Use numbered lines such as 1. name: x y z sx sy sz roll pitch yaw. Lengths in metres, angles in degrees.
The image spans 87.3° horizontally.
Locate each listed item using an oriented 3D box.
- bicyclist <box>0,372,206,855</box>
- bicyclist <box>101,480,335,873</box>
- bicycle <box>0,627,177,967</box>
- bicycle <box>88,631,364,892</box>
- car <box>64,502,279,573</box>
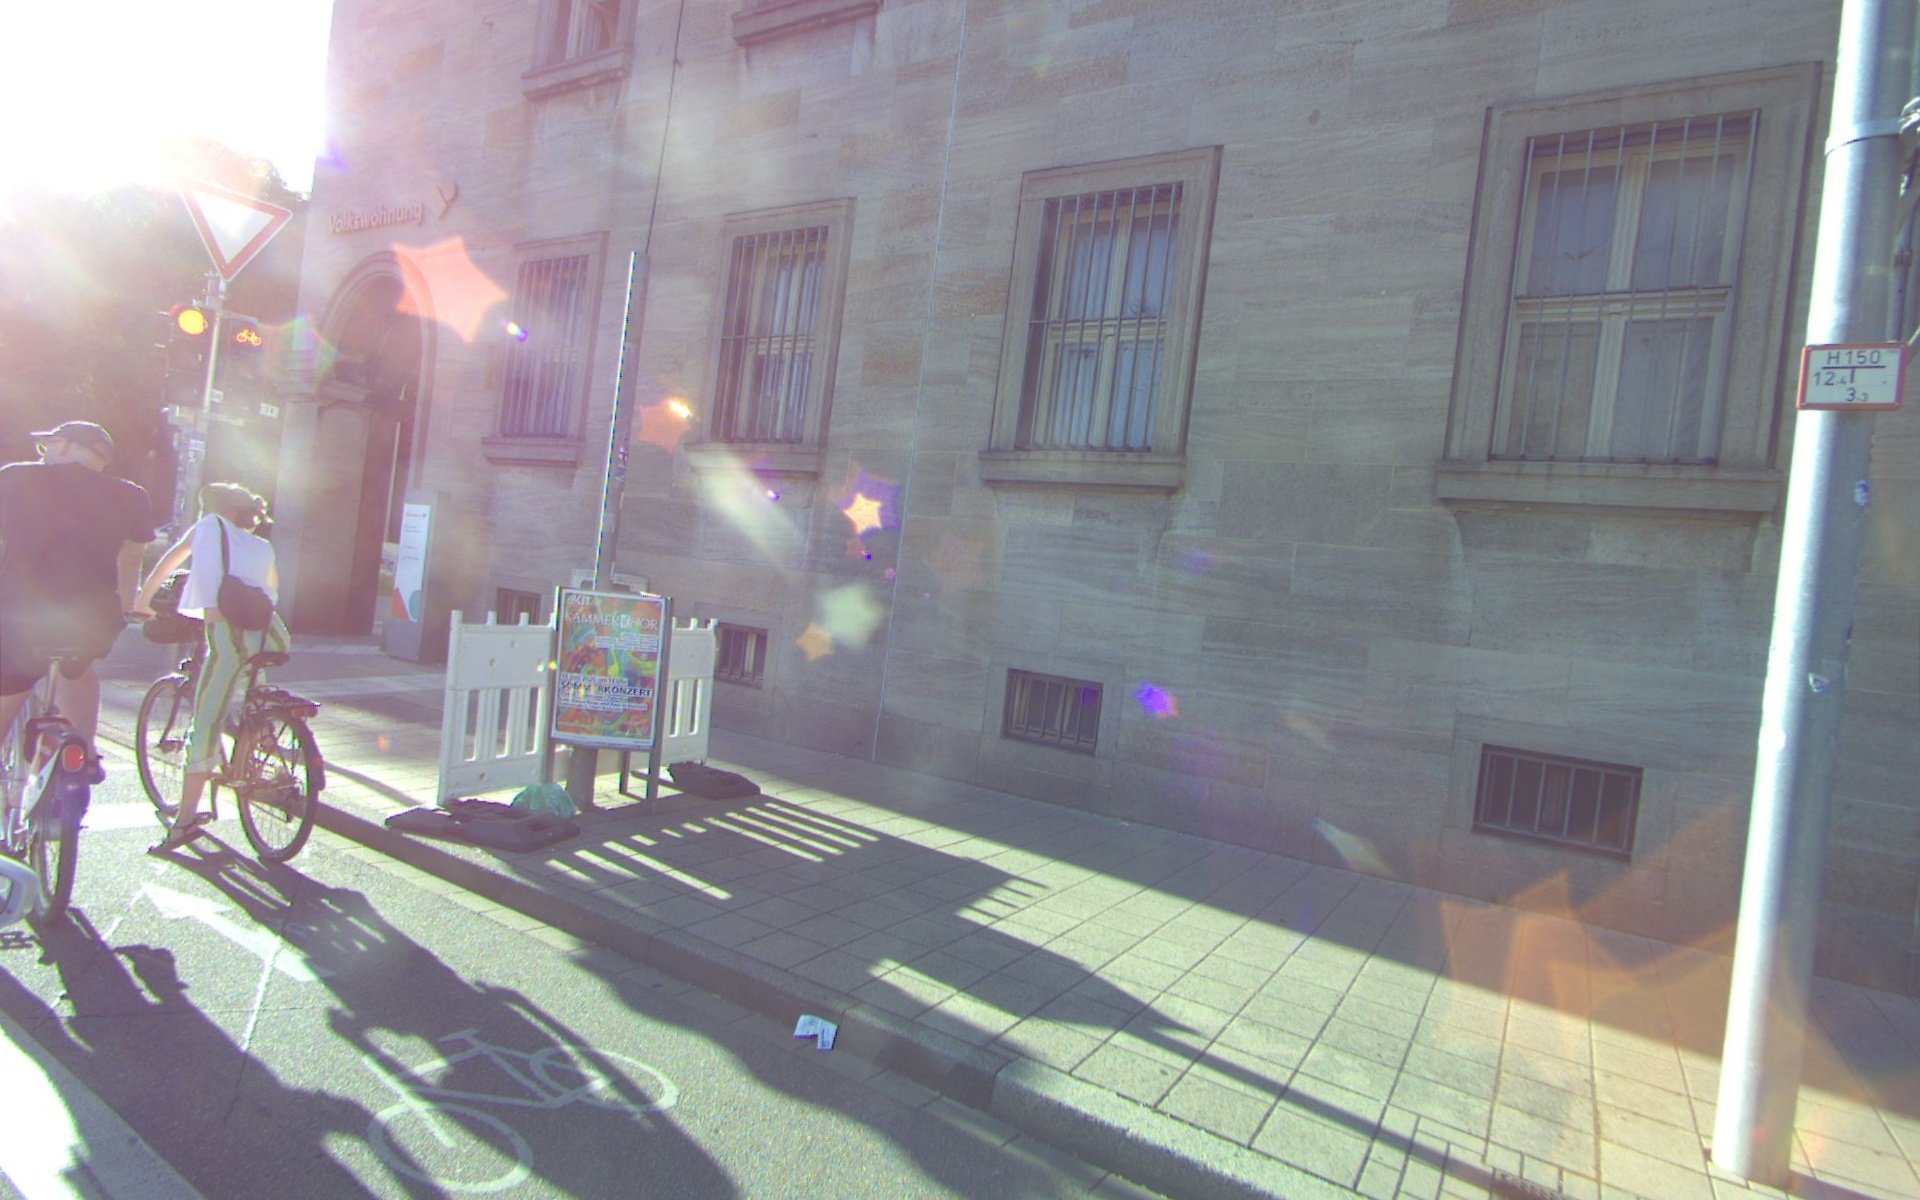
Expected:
1. bicyclist: -3.505 0.052 3.890 0.647 1.698 0.669 7 1 39
2. bicyclist: -3.567 0.327 4.829 0.845 1.700 0.522 7 1 35
3. bicycle: -3.666 0.670 4.035 1.923 0.916 0.388 7 0 41
4. bicycle: -3.663 0.713 4.947 1.920 0.887 0.427 7 0 35
5. car: -22.423 -1.740 28.790 1.748 1.345 4.446 7 -1 34
